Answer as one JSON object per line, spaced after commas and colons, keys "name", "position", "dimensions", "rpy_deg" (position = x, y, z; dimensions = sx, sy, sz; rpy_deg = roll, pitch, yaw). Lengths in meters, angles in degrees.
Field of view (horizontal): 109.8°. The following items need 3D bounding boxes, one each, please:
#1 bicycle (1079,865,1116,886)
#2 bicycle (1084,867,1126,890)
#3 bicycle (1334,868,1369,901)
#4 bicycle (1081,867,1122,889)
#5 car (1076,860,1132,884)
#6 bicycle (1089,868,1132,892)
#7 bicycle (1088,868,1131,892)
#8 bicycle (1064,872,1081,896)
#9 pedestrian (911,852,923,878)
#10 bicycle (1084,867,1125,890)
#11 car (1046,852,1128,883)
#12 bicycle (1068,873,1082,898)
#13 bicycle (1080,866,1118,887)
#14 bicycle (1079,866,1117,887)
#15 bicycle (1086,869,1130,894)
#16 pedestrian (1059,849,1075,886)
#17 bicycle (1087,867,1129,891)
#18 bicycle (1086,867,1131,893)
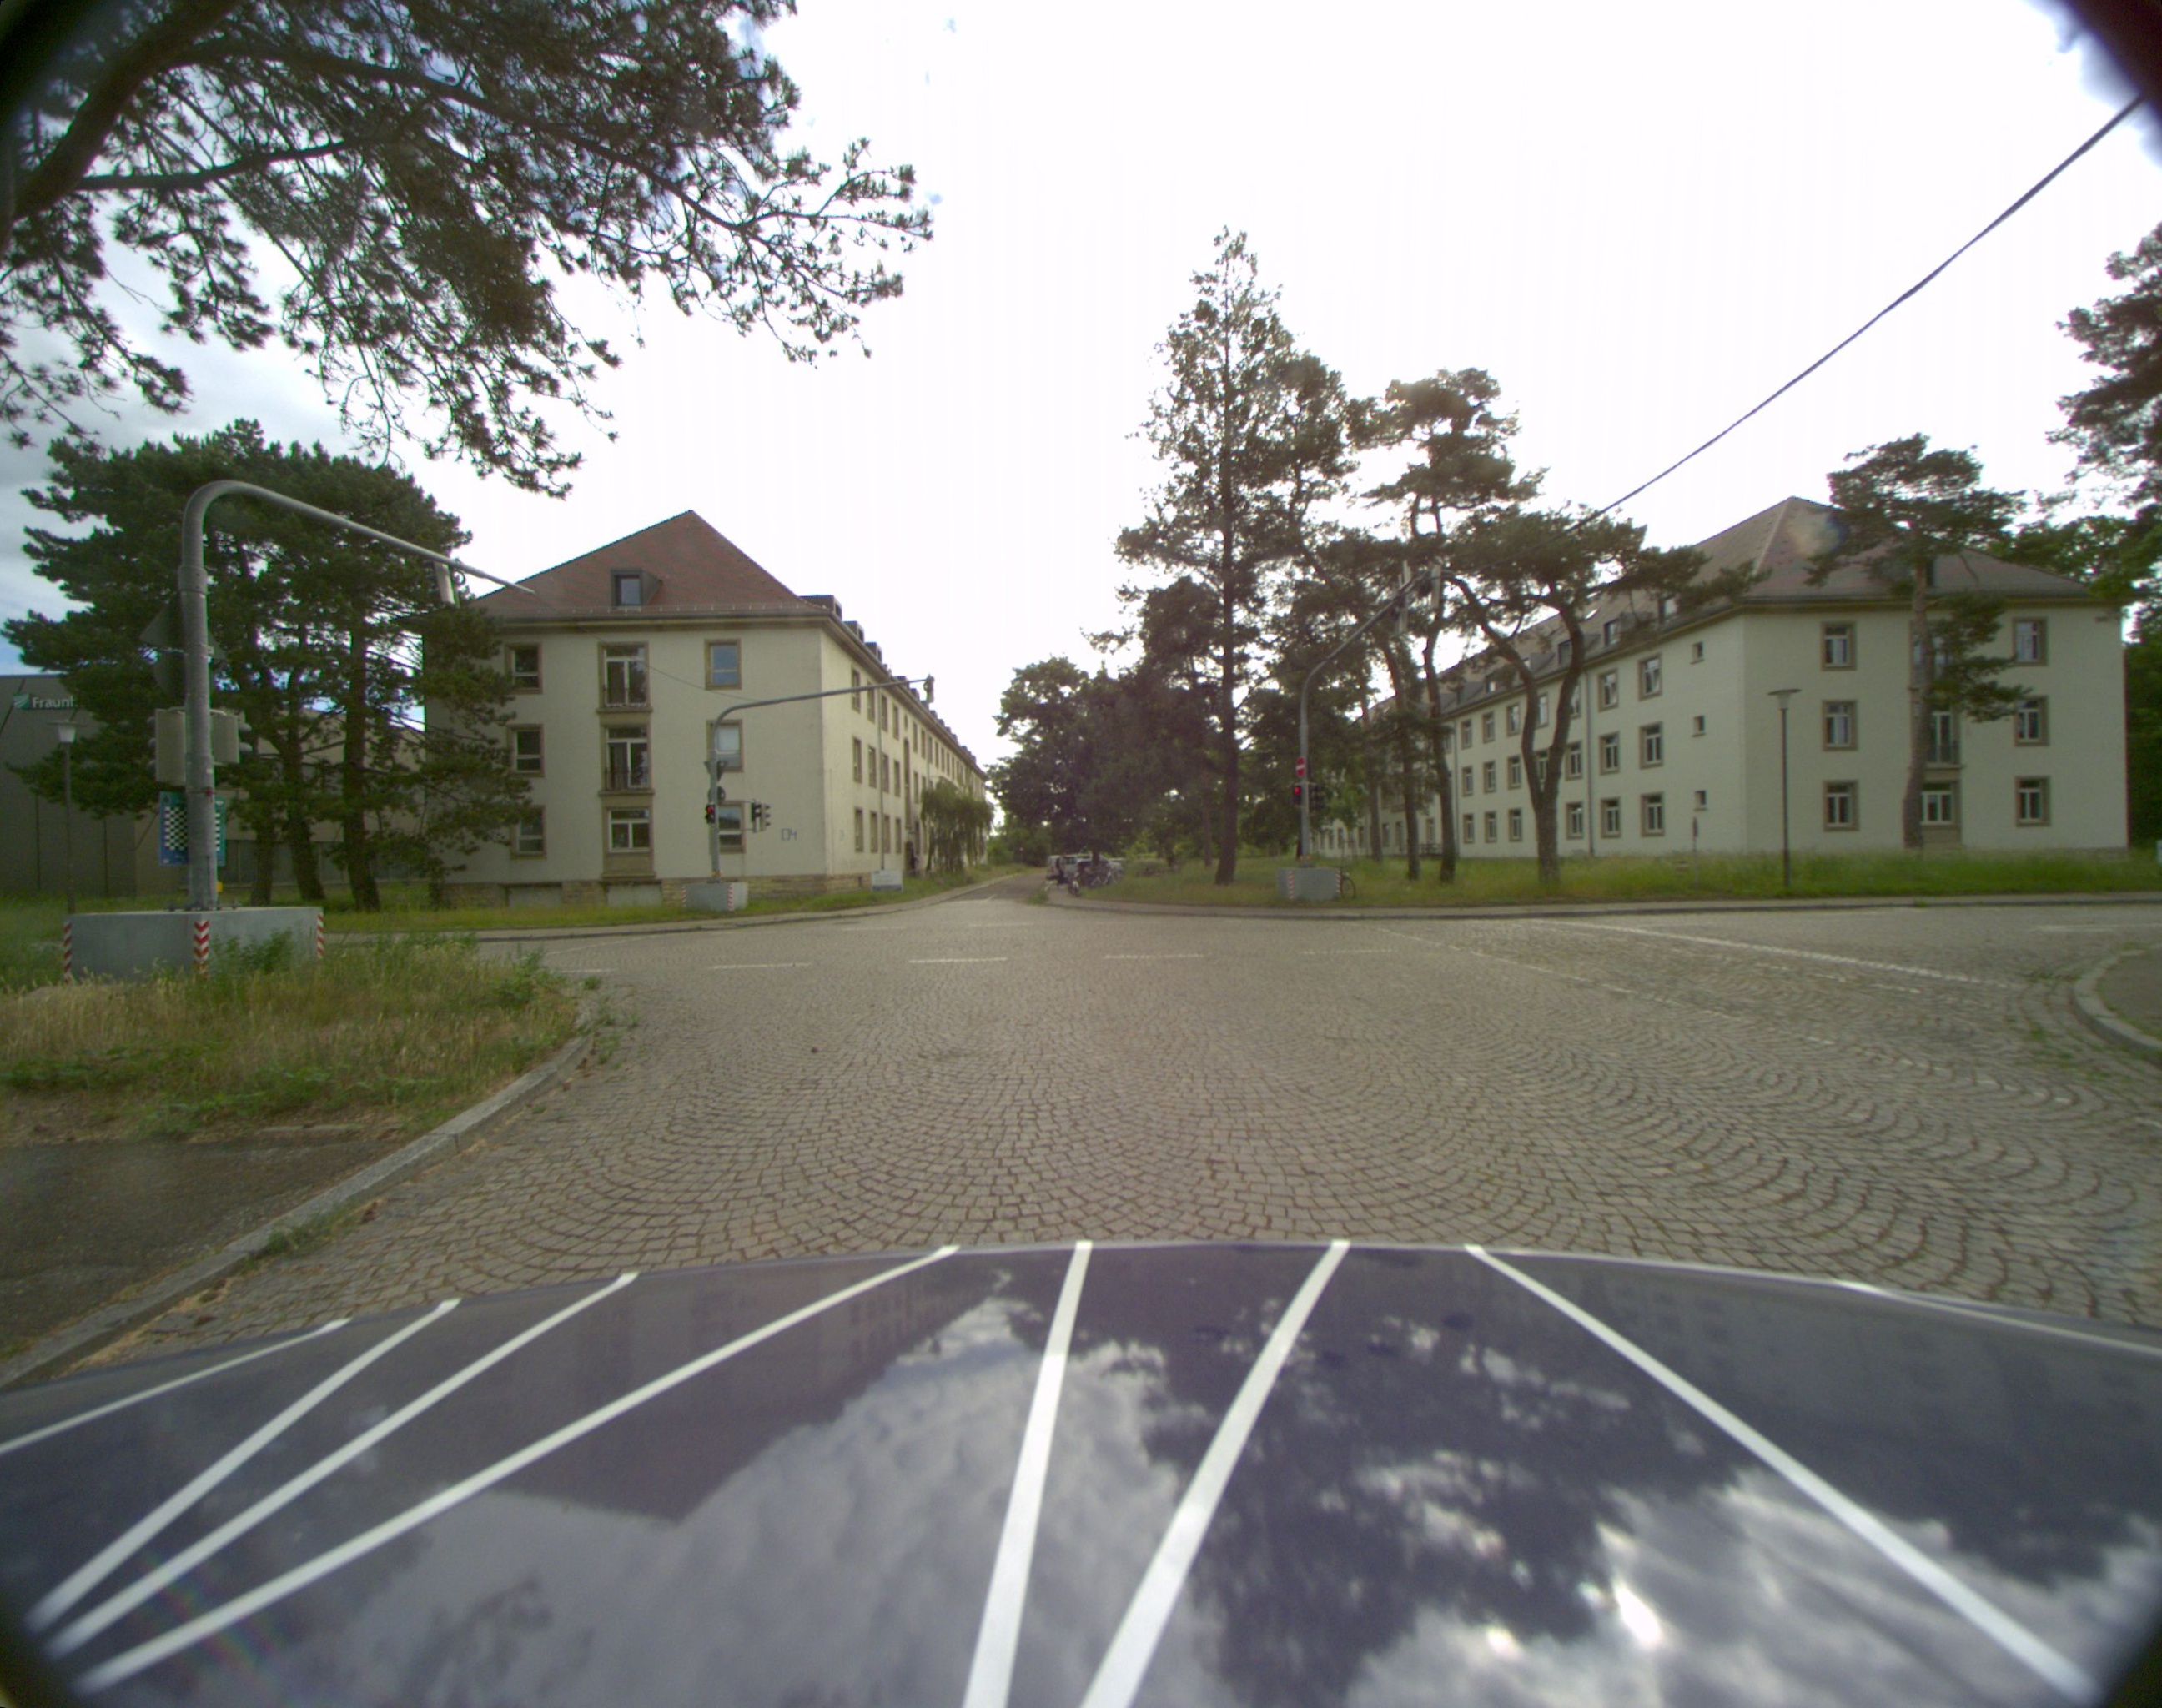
{"name": "bicycle", "position": [0.870, 1.156, 40.652], "dimensions": [1.951, 1.058, 0.562], "rpy_deg": [-1, 0, -3]}
{"name": "bicycle", "position": [1.165, 1.189, 36.859], "dimensions": [1.951, 1.058, 0.562], "rpy_deg": [-1, 0, -3]}
{"name": "bicycle", "position": [7.689, 0.854, 21.591], "dimensions": [0.294, 0.910, 1.052], "rpy_deg": [-1, 0, -23]}
{"name": "bicycle", "position": [1.017, 1.181, 37.943], "dimensions": [1.951, 1.058, 0.562], "rpy_deg": [-1, 0, -3]}
{"name": "car", "position": [1.422, 1.125, 48.862], "dimensions": [3.440, 1.440, 1.913], "rpy_deg": [-1, 0, -2]}
{"name": "bicycle", "position": [1.388, 1.201, 35.797], "dimensions": [1.951, 1.058, 0.562], "rpy_deg": [-1, 0, -3]}
{"name": "bicycle", "position": [1.315, 1.210, 35.148], "dimensions": [1.951, 1.058, 0.562], "rpy_deg": [-1, 0, -3]}
{"name": "bicycle", "position": [-0.346, 1.257, 32.434], "dimensions": [0.459, 0.968, 1.663], "rpy_deg": [-1, 0, 8]}
{"name": "pedestrian", "position": [-10.644, 0.696, 49.273], "dimensions": [0.568, 1.691, 0.532], "rpy_deg": [-1, 0, 3]}
{"name": "bicycle", "position": [1.132, 1.184, 37.399], "dimensions": [1.951, 1.058, 0.562], "rpy_deg": [-1, 0, -3]}
{"name": "car", "position": [0.376, 0.904, 52.478], "dimensions": [5.367, 1.987, 2.289], "rpy_deg": [-1, 0, -9]}
{"name": "bicycle", "position": [-0.228, 1.257, 30.614], "dimensions": [0.459, 0.903, 1.663], "rpy_deg": [-1, 0, 3]}
{"name": "bicycle", "position": [0.933, 1.168, 39.377], "dimensions": [1.951, 1.058, 0.562], "rpy_deg": [-1, 0, -3]}
{"name": "bicycle", "position": [0.874, 1.163, 40.052], "dimensions": [1.951, 1.058, 0.562], "rpy_deg": [-1, 0, -3]}
{"name": "bicycle", "position": [1.200, 1.224, 34.061], "dimensions": [1.899, 1.058, 0.616], "rpy_deg": [-1, 0, -3]}
{"name": "pedestrian", "position": [-0.729, 0.705, 39.522], "dimensions": [0.793, 1.926, 0.588], "rpy_deg": [-1, 0, -1]}
{"name": "bicycle", "position": [1.293, 1.197, 36.280], "dimensions": [1.951, 1.058, 0.562], "rpy_deg": [-1, 0, -3]}
{"name": "bicycle", "position": [1.244, 1.193, 34.617], "dimensions": [1.951, 1.104, 0.562], "rpy_deg": [-1, 0, -3]}
